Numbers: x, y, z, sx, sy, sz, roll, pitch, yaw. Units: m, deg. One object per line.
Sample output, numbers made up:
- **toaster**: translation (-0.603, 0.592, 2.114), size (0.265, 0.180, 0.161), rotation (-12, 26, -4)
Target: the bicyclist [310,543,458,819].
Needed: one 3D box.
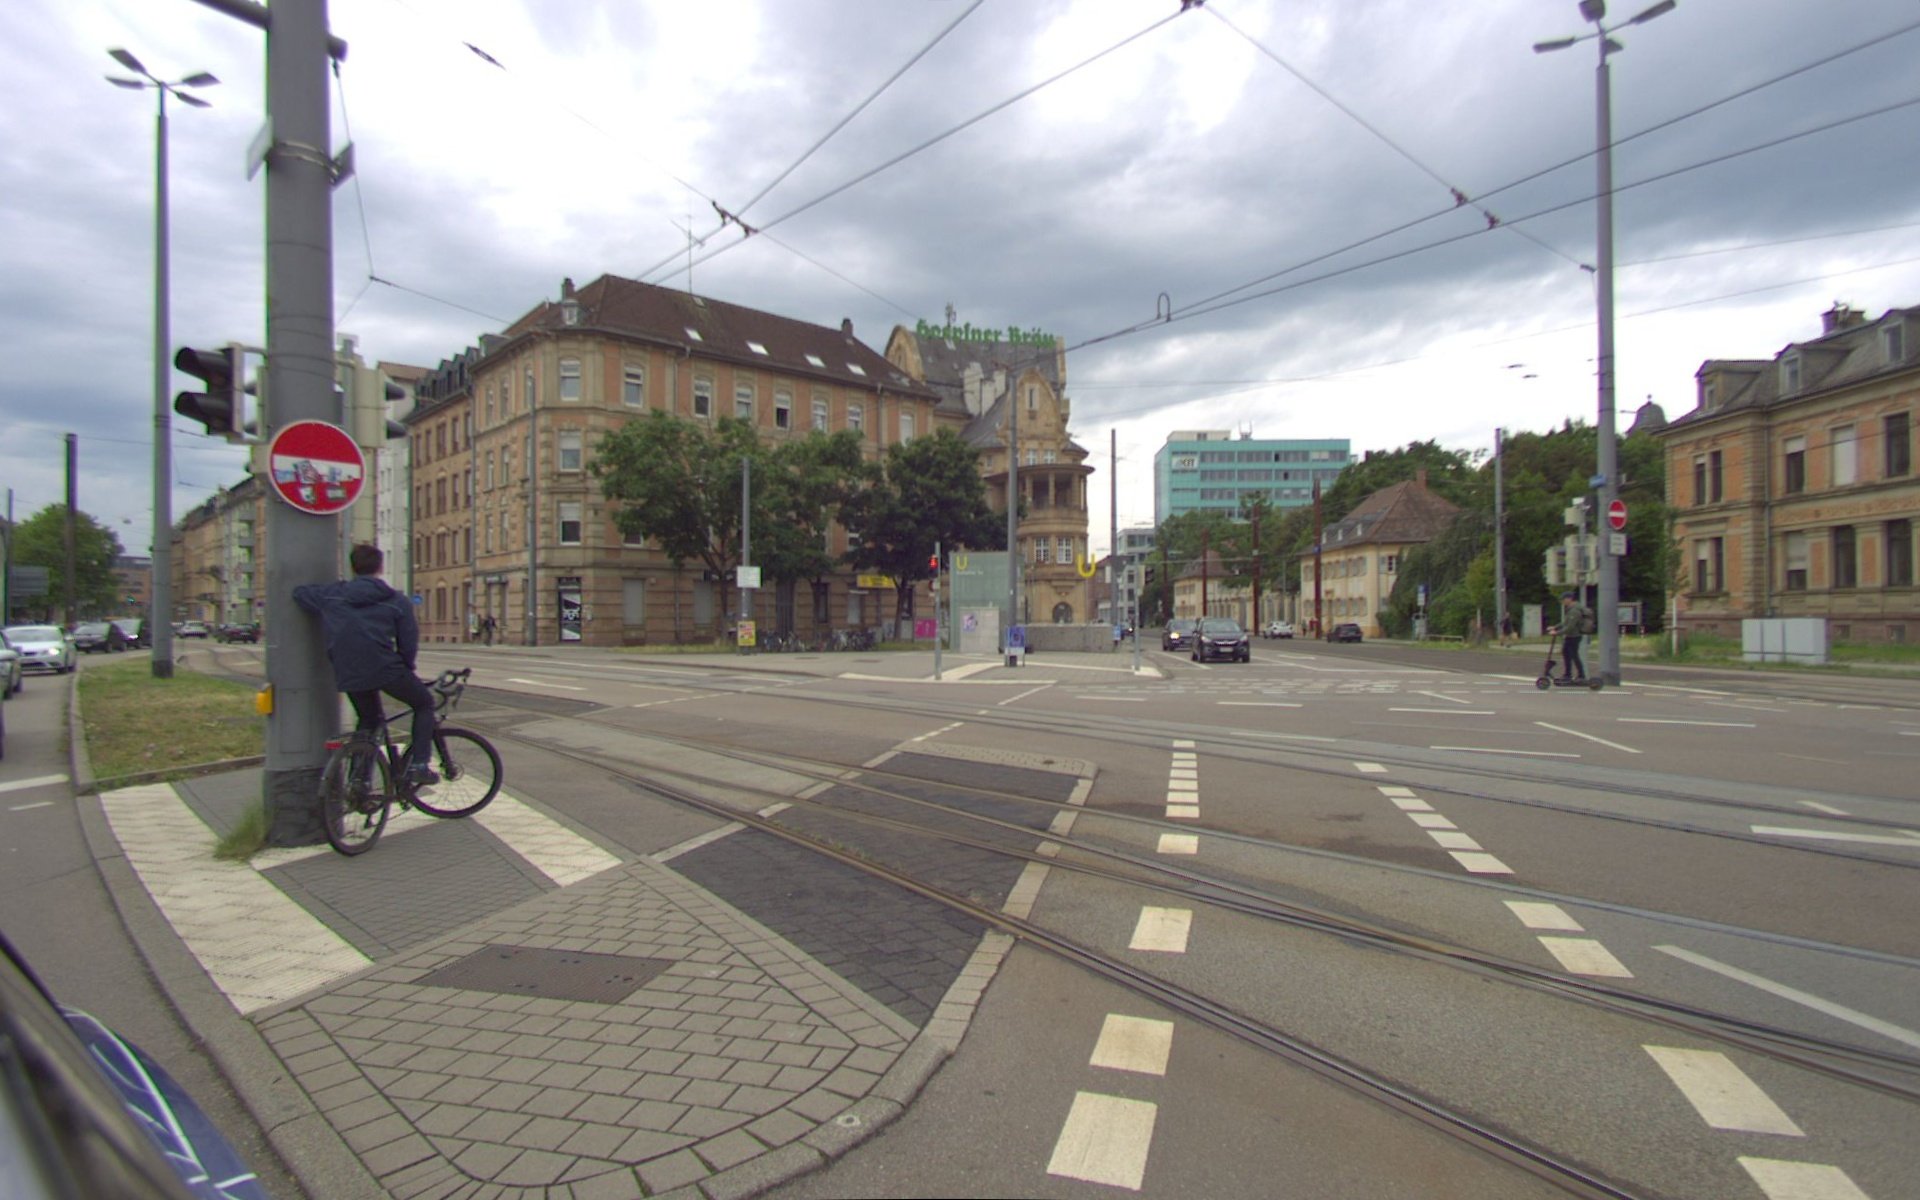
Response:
- **bicyclist**: translation (-3.644, 0.492, 6.440), size (0.512, 1.651, 0.653), rotation (0, -2, 8)

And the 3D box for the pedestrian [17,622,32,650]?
- **pedestrian**: translation (-57.259, 2.210, 61.929), size (0.653, 1.693, 0.651), rotation (1, -2, -44)

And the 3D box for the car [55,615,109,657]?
- **car**: translation (-44.408, 1.776, 51.157), size (1.969, 2.029, 4.005), rotation (1, -2, -42)

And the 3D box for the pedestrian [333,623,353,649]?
- **pedestrian**: translation (-43.511, 2.533, 71.368), size (0.713, 1.846, 0.916), rotation (-1, -2, 12)

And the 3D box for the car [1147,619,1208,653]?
- **car**: translation (11.393, 1.871, 53.404), size (2.133, 1.727, 4.923), rotation (0, -1, 0)

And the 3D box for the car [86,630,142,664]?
- **car**: translation (-47.633, 2.611, 57.051), size (2.337, 1.768, 5.138), rotation (1, -2, -40)

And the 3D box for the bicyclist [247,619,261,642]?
- **bicyclist**: translation (-58.944, 2.570, 84.484), size (0.812, 1.881, 0.925), rotation (1, -2, -43)

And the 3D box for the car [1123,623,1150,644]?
- **car**: translation (15.215, 2.890, 87.453), size (1.809, 1.773, 3.998), rotation (0, -1, 3)

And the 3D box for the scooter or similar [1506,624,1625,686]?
- **scooter or similar**: translation (11.890, 1.074, 19.919), size (1.887, 1.174, 0.572), rotation (-1, -1, 12)

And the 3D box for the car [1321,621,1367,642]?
- **car**: translation (27.552, 2.223, 72.742), size (1.975, 1.442, 3.994), rotation (0, -1, 5)

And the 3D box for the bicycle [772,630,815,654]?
- **bicycle**: translation (-7.538, 1.900, 45.710), size (0.743, 1.038, 2.399), rotation (1, -2, -43)

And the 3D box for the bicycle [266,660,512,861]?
- **bicycle**: translation (-3.621, 0.959, 6.583), size (0.522, 1.078, 1.610), rotation (0, -1, 8)

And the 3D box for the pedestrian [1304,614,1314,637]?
- **pedestrian**: translation (29.916, 2.185, 86.692), size (0.604, 1.900, 0.702), rotation (-1, -1, 5)

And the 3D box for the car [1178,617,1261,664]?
- **car**: translation (9.579, 1.454, 37.687), size (1.972, 1.623, 4.244), rotation (-1, -1, 1)

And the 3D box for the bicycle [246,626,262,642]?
- **bicycle**: translation (-58.955, 2.860, 84.525), size (0.787, 1.302, 2.413), rotation (1, -2, -42)

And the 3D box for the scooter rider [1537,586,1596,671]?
- **scooter rider**: translation (11.924, 0.569, 19.923), size (0.813, 1.640, 0.567), rotation (-1, -1, 11)

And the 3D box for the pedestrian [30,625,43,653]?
- **pedestrian**: translation (-63.057, 2.645, 69.087), size (0.643, 1.930, 0.603), rotation (1, -2, -43)

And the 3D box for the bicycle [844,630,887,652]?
- **bicycle**: translation (-4.509, 1.939, 48.174), size (0.743, 1.038, 2.399), rotation (1, -2, -43)

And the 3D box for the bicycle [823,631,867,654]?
- **bicycle**: translation (-5.386, 1.981, 47.318), size (0.743, 1.038, 2.399), rotation (1, -2, -43)

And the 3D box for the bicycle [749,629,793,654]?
- **bicycle**: translation (-8.409, 1.830, 44.920), size (0.743, 1.038, 2.399), rotation (1, -2, -43)

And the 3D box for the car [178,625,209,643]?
- **car**: translation (-71.962, 3.159, 95.022), size (1.809, 1.658, 4.233), rotation (1, -2, -44)

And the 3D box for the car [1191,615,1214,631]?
- **car**: translation (28.825, 2.754, 120.467), size (1.975, 1.863, 3.994), rotation (-1, -1, 5)

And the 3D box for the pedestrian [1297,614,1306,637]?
- **pedestrian**: translation (29.260, 2.197, 86.701), size (0.604, 1.900, 0.702), rotation (-1, -1, 5)

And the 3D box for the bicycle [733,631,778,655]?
- **bicycle**: translation (-8.974, 1.876, 44.362), size (0.825, 1.038, 2.399), rotation (1, -2, -43)

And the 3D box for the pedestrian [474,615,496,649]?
- **pedestrian**: translation (-24.222, 1.625, 51.620), size (0.799, 1.688, 0.801), rotation (-2, -2, 44)

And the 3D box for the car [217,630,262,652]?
- **car**: translation (-50.766, 2.881, 71.276), size (1.861, 1.481, 4.467), rotation (1, -2, -44)

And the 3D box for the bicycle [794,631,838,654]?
- **bicycle**: translation (-6.602, 1.932, 46.344), size (0.743, 1.038, 2.399), rotation (1, -2, -43)

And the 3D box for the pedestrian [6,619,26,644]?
- **pedestrian**: translation (-77.508, 2.591, 83.129), size (1.160, 2.029, 1.033), rotation (1, -2, -43)

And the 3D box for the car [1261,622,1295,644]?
- **car**: translation (27.995, 2.887, 89.161), size (1.975, 1.863, 3.994), rotation (-1, -1, 5)

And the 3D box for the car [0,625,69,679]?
- **car**: translation (-27.232, 1.483, 29.399), size (1.943, 1.467, 4.199), rotation (1, -2, -40)

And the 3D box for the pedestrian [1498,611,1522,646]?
- **pedestrian**: translation (29.742, 1.549, 54.726), size (0.799, 1.846, 0.849), rotation (-1, -1, 4)

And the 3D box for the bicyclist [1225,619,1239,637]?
- **bicyclist**: translation (26.343, 2.713, 97.939), size (1.079, 1.796, 1.015), rotation (-1, -1, 6)

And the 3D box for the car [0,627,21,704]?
- **car**: translation (-19.740, 1.252, 19.896), size (1.784, 1.417, 3.986), rotation (1, -2, -44)

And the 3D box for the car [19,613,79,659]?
- **car**: translation (-42.034, 1.653, 46.723), size (1.969, 2.029, 4.005), rotation (1, -2, -42)
